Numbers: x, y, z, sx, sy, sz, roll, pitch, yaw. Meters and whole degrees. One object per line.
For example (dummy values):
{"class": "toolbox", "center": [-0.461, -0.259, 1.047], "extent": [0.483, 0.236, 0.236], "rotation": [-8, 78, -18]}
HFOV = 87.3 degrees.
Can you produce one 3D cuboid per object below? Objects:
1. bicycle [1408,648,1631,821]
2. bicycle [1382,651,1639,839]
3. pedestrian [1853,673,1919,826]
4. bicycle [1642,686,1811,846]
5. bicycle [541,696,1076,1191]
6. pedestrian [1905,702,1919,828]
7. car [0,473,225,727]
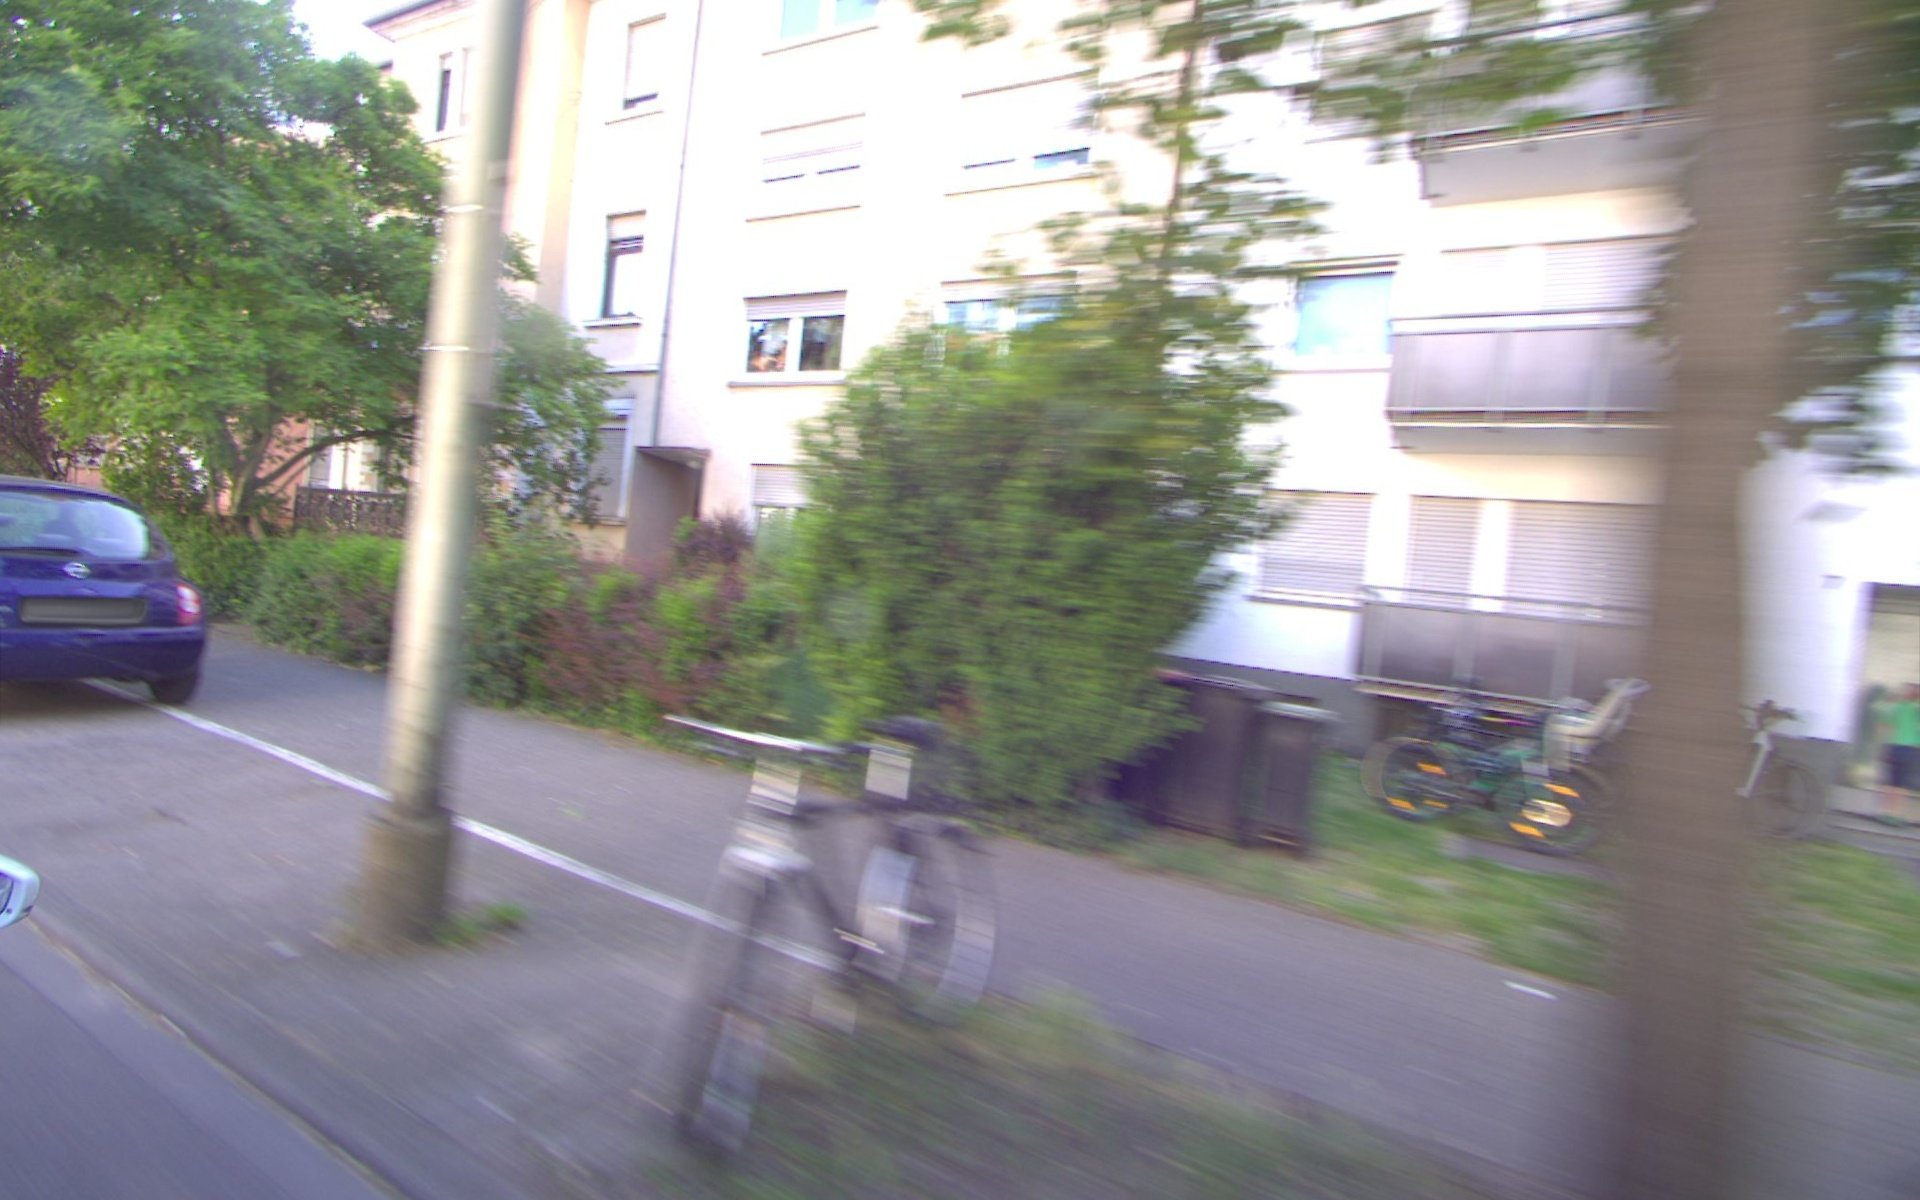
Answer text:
{"class": "bicycle", "center": [5.227, 1.212, 9.471], "extent": [1.661, 1.305, 0.591], "rotation": [7, 4, 32]}
{"class": "bicycle", "center": [4.837, 1.222, 8.928], "extent": [1.812, 1.305, 0.623], "rotation": [7, 4, 32]}
{"class": "pedestrian", "center": [8.989, 1.426, 9.677], "extent": [0.358, 1.399, 0.367], "rotation": [7, -2, 15]}
{"class": "bicycle", "center": [6.621, 1.409, 8.679], "extent": [1.521, 1.239, 0.460], "rotation": [4, 4, -29]}
{"class": "bicycle", "center": [-0.345, 0.879, 3.173], "extent": [0.517, 1.035, 1.736], "rotation": [4, 1, 38]}
{"class": "pedestrian", "center": [9.463, 1.612, 9.673], "extent": [0.359, 1.210, 0.340], "rotation": [7, -2, 24]}
{"class": "car", "center": [-7.155, -0.165, 7.295], "extent": [3.592, 1.535, 1.560], "rotation": [7, 3, 29]}
